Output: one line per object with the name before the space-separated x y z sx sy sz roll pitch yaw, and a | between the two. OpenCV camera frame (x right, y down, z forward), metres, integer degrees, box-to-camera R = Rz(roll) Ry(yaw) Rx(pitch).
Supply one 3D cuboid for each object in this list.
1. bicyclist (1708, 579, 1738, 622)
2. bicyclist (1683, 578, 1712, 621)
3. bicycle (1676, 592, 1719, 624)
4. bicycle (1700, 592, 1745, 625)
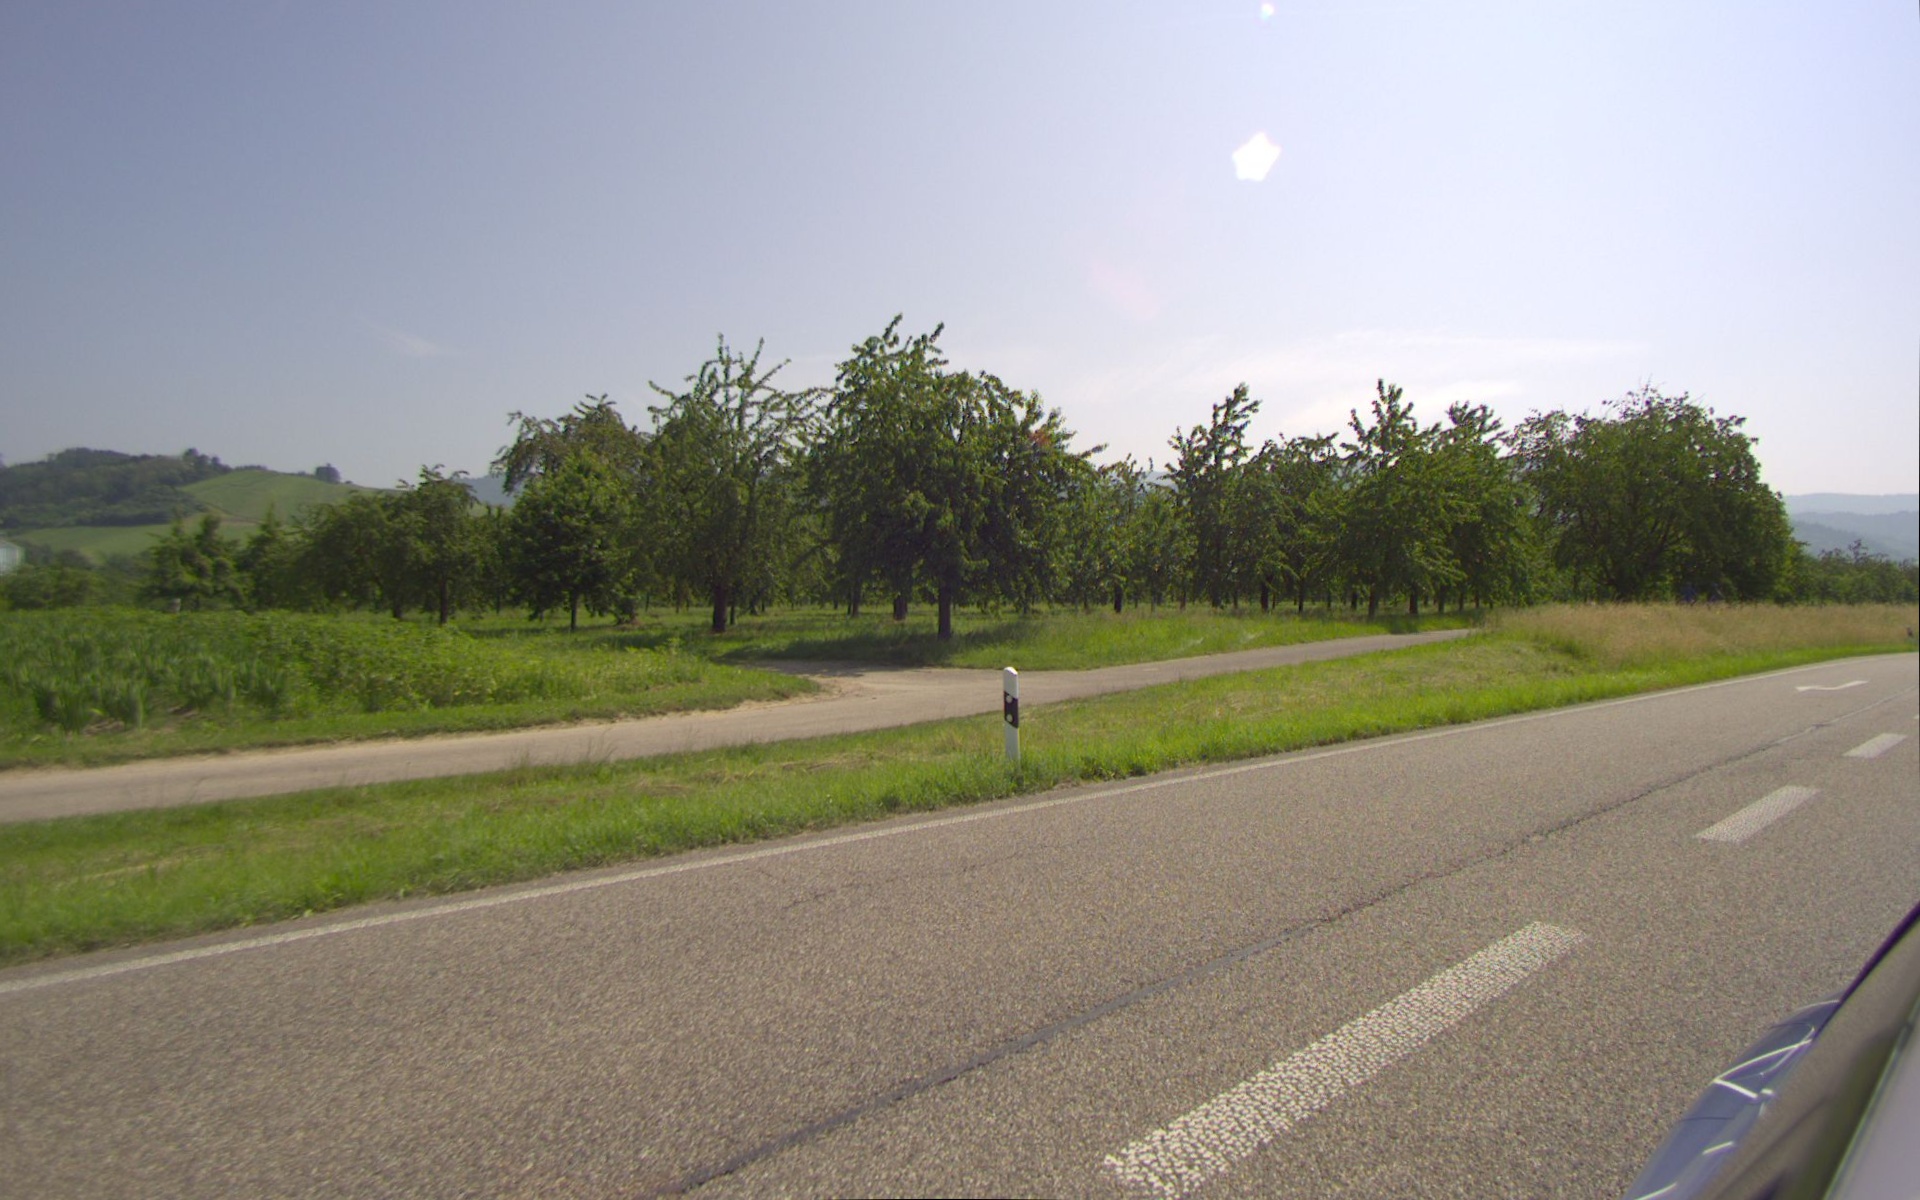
bicyclist | 33.913 0.024 45.007 0.851 1.890 0.753 1 1 -29
bicyclist | 33.620 -0.028 46.122 0.811 1.954 0.753 1 1 -29
bicycle | 33.617 0.359 46.126 2.176 1.436 0.753 1 1 -29
bicycle | 33.916 0.365 45.018 2.176 1.436 0.753 1 1 -29
